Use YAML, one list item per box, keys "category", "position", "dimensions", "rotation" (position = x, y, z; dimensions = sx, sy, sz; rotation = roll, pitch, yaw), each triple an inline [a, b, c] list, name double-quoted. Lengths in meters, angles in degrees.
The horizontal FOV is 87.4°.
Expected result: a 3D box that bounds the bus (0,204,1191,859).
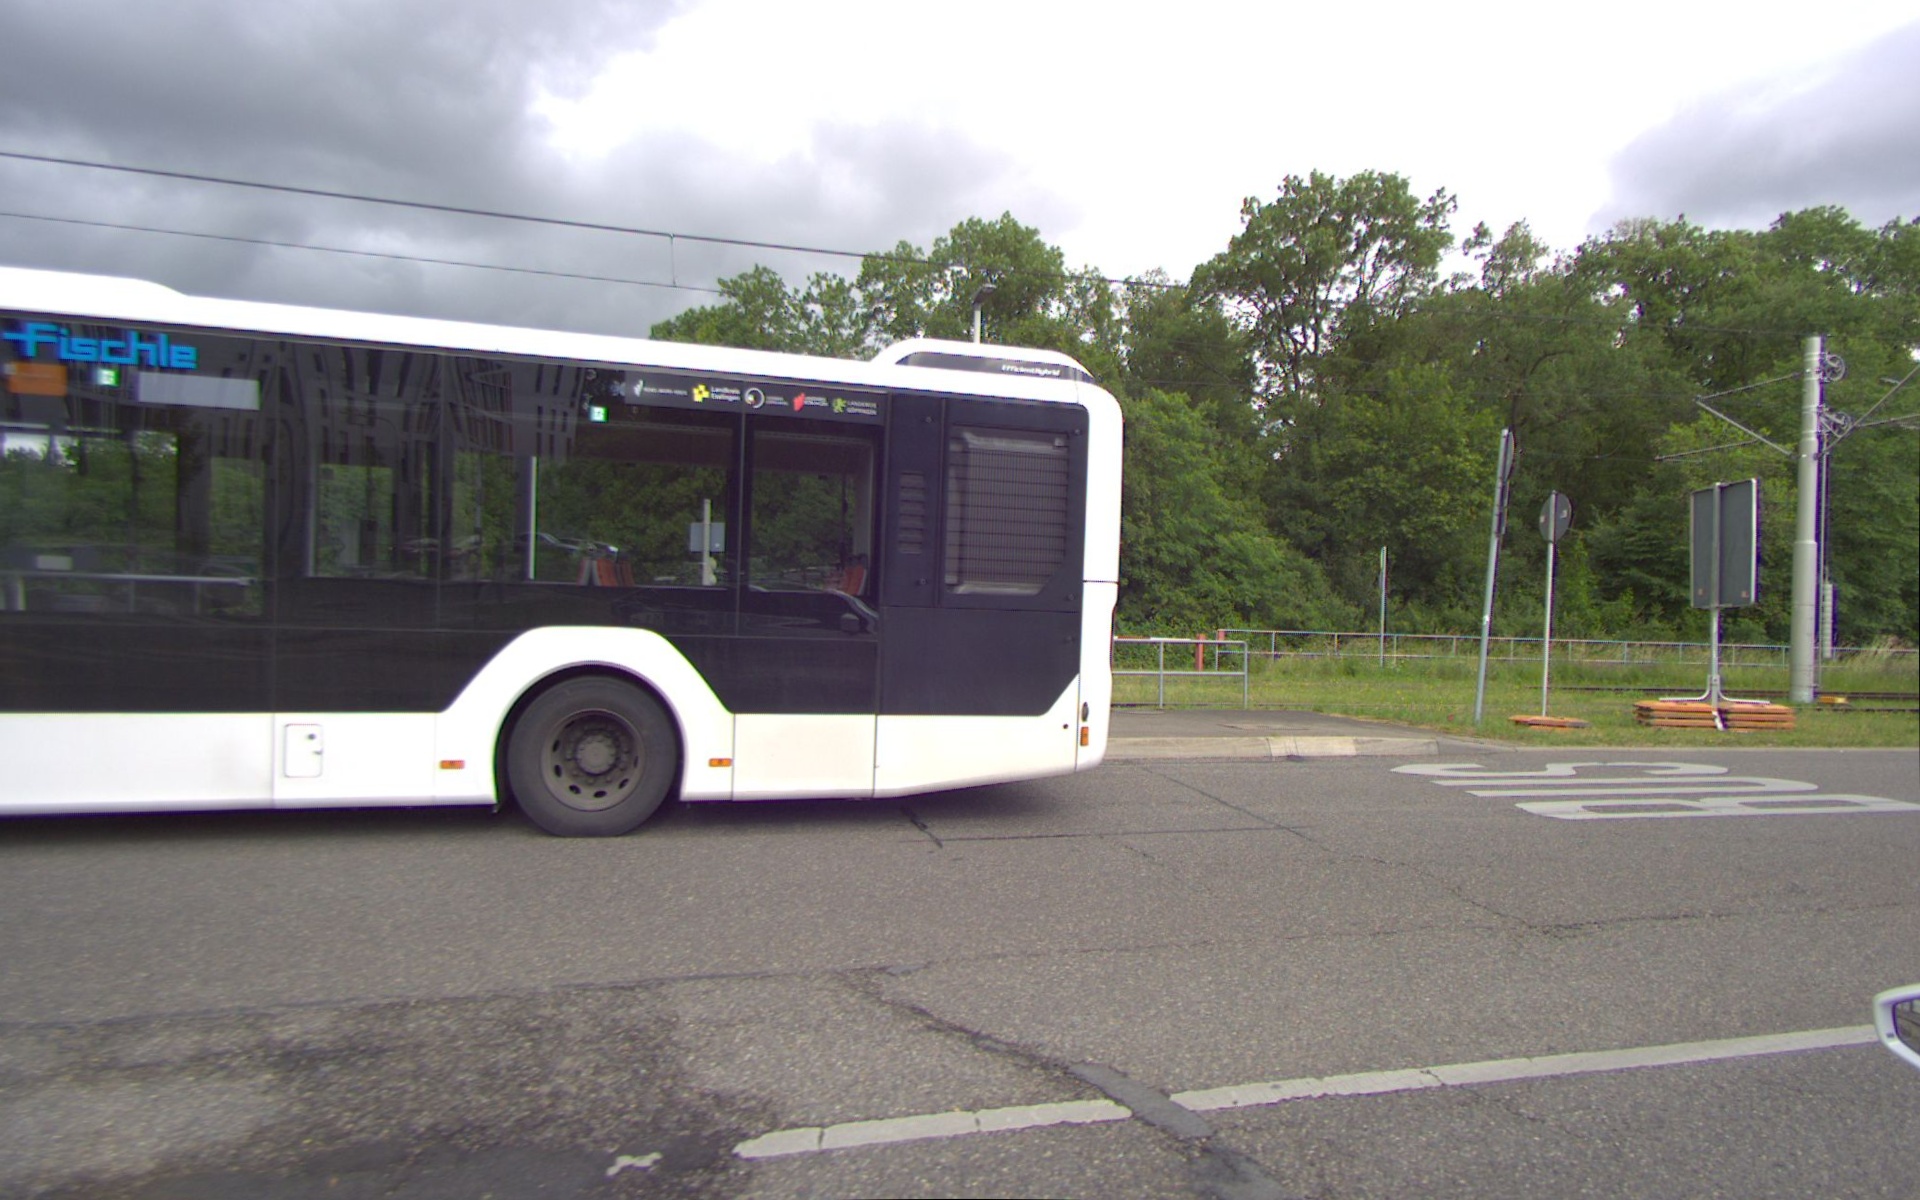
- category: "bus"
  position: [-4.635, -0.315, 6.393]
  dimensions: [11.994, 3.245, 2.667]
  rotation: [2, -1, -15]
